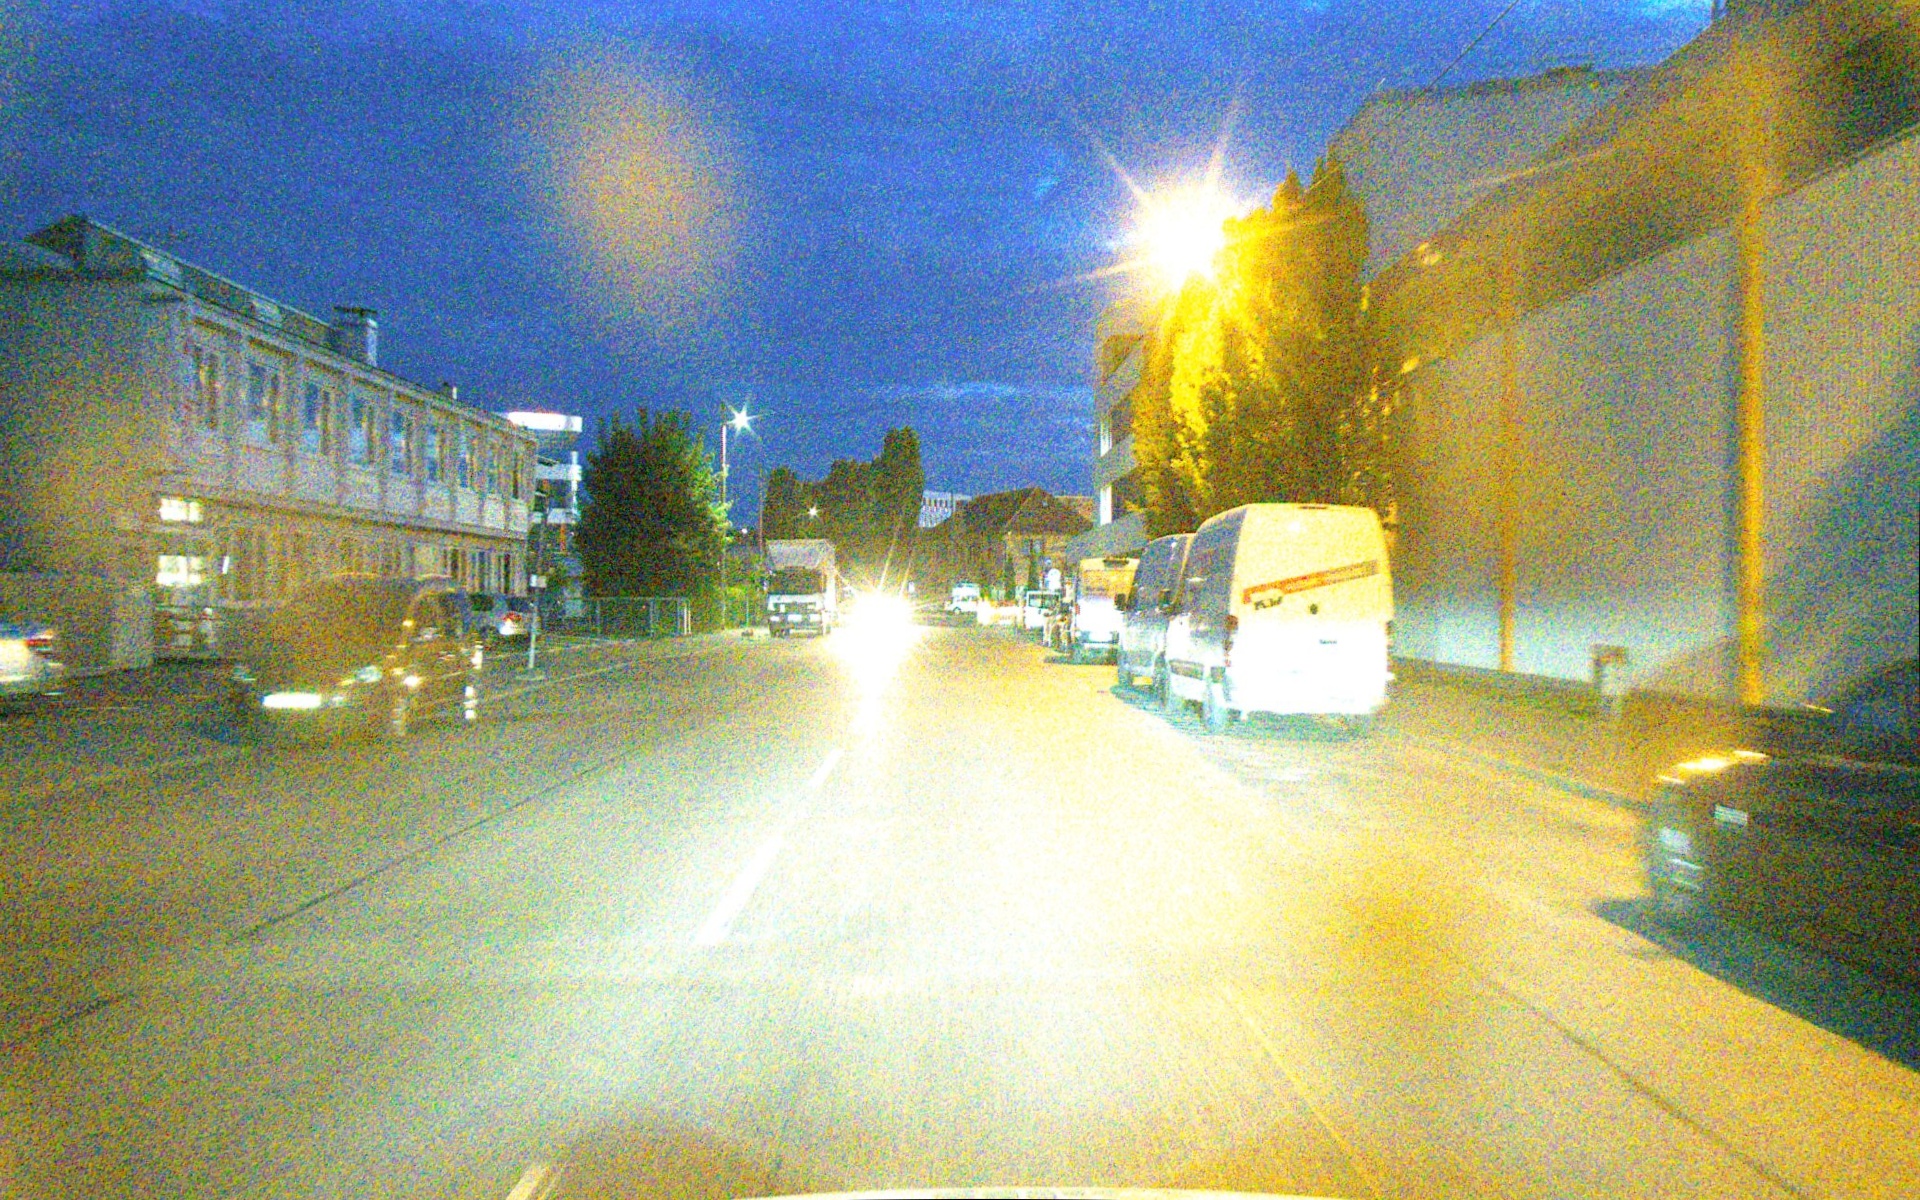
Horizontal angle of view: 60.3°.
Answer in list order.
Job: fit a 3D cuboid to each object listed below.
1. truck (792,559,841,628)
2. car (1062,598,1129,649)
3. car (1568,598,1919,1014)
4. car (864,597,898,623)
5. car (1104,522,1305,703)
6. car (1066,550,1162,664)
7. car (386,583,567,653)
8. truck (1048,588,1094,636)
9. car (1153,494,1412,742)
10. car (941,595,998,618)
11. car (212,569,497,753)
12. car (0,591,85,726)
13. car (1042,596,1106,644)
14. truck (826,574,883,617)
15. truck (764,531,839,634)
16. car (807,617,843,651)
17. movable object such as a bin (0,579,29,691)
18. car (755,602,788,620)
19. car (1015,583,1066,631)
[{"bbox_3d":[-9.289,-0.392,106.232,2.720,4.192,9.325,0,0,-8],"label":"truck"},{"bbox_3d":[3.937,0.653,48.588,1.732,1.437,4.551,0,0,2],"label":"car"},{"bbox_3d":[4.234,0.756,6.494,1.792,1.432,4.907,3,0,-1],"label":"car"},{"bbox_3d":[-4.496,0.556,94.634,1.820,1.445,3.999,0,0,-1],"label":"car"},{"bbox_3d":[3.933,0.171,27.757,2.086,2.616,5.905,3,0,-3],"label":"car"},{"bbox_3d":[3.804,0.164,41.733,1.952,2.570,5.911,3,0,2],"label":"car"},{"bbox_3d":[-12.492,0.456,42.787,4.043,1.457,1.897,5,1,18],"label":"car"},{"bbox_3d":[3.994,0.436,59.906,1.342,1.673,3.811,0,0,-2],"label":"truck"},{"bbox_3d":[3.879,0.185,21.071,1.953,2.616,6.013,3,0,-1],"label":"car"},{"bbox_3d":[0.811,0.513,136.457,4.267,1.675,1.879,-3,1,-23],"label":"car"},{"bbox_3d":[-6.814,0.629,19.137,1.777,1.881,4.413,0,0,-2],"label":"car"},{"bbox_3d":[-11.984,0.636,17.963,4.353,1.465,1.776,0,0,-30],"label":"car"},{"bbox_3d":[3.719,0.634,54.642,1.906,1.515,5.011,0,0,2],"label":"car"},{"bbox_3d":[-9.795,-0.417,152.924,2.716,3.849,9.079,0,0,-21],"label":"truck"},{"bbox_3d":[-6.740,-0.700,71.341,2.691,4.104,9.555,0,0,-2],"label":"truck"},{"bbox_3d":[-7.367,1.828,90.200,1.906,1.747,5.193,0,0,-5],"label":"car"},{"bbox_3d":[-13.915,0.468,22.278,1.819,1.526,1.609,0,0,0],"label":"movable object such as a bin"},{"bbox_3d":[-15.203,0.873,133.238,1.786,1.395,4.338,0,0,-18],"label":"car"},{"bbox_3d":[3.553,0.308,73.831,1.953,2.049,4.911,-1,0,-1],"label":"car"}]
